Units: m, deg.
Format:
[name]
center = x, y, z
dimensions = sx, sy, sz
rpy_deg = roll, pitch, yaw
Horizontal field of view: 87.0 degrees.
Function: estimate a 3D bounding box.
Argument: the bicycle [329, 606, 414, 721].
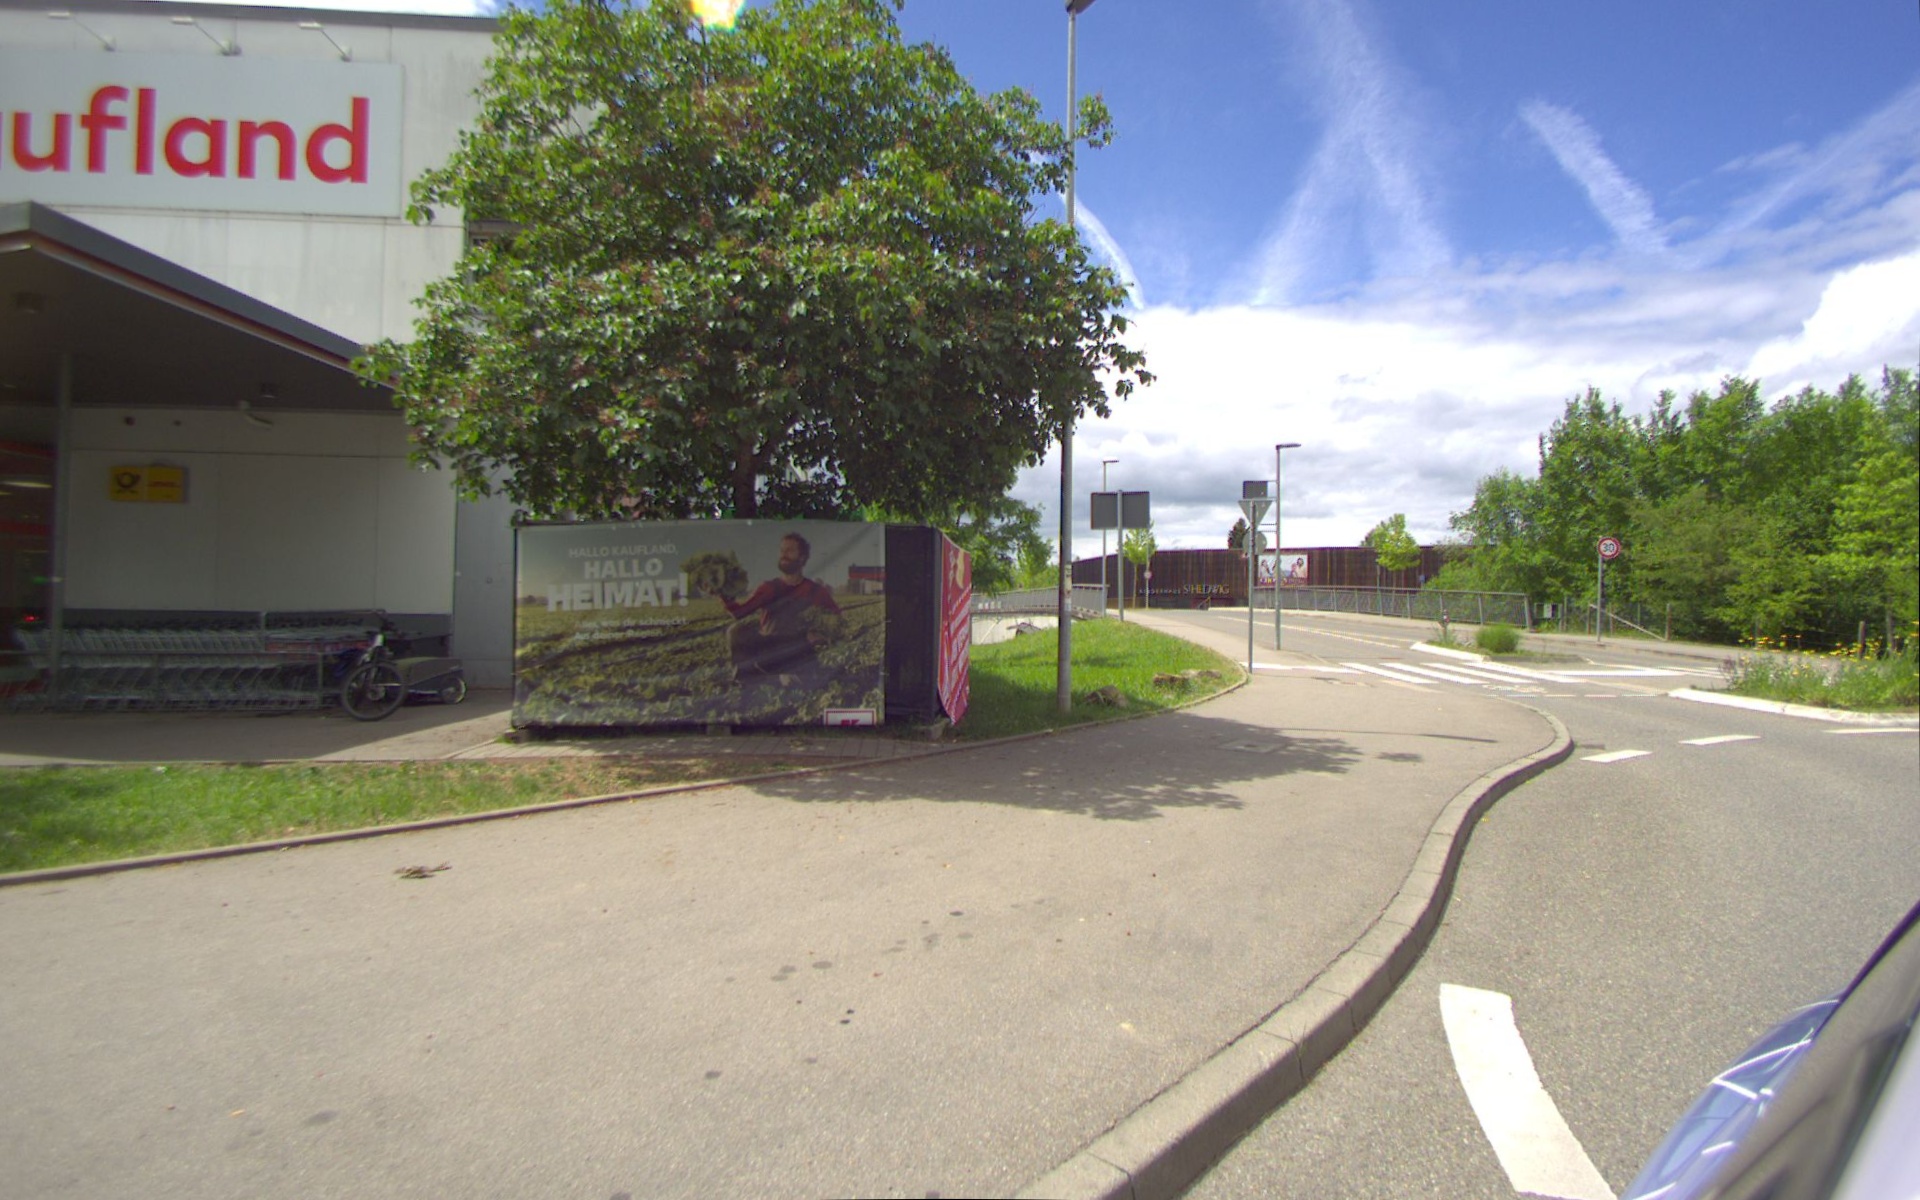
[bicycle]
center = -6.985, 0.715, 11.975
dimensions = 0.701, 1.250, 1.772
rpy_deg = 1, -2, -36
